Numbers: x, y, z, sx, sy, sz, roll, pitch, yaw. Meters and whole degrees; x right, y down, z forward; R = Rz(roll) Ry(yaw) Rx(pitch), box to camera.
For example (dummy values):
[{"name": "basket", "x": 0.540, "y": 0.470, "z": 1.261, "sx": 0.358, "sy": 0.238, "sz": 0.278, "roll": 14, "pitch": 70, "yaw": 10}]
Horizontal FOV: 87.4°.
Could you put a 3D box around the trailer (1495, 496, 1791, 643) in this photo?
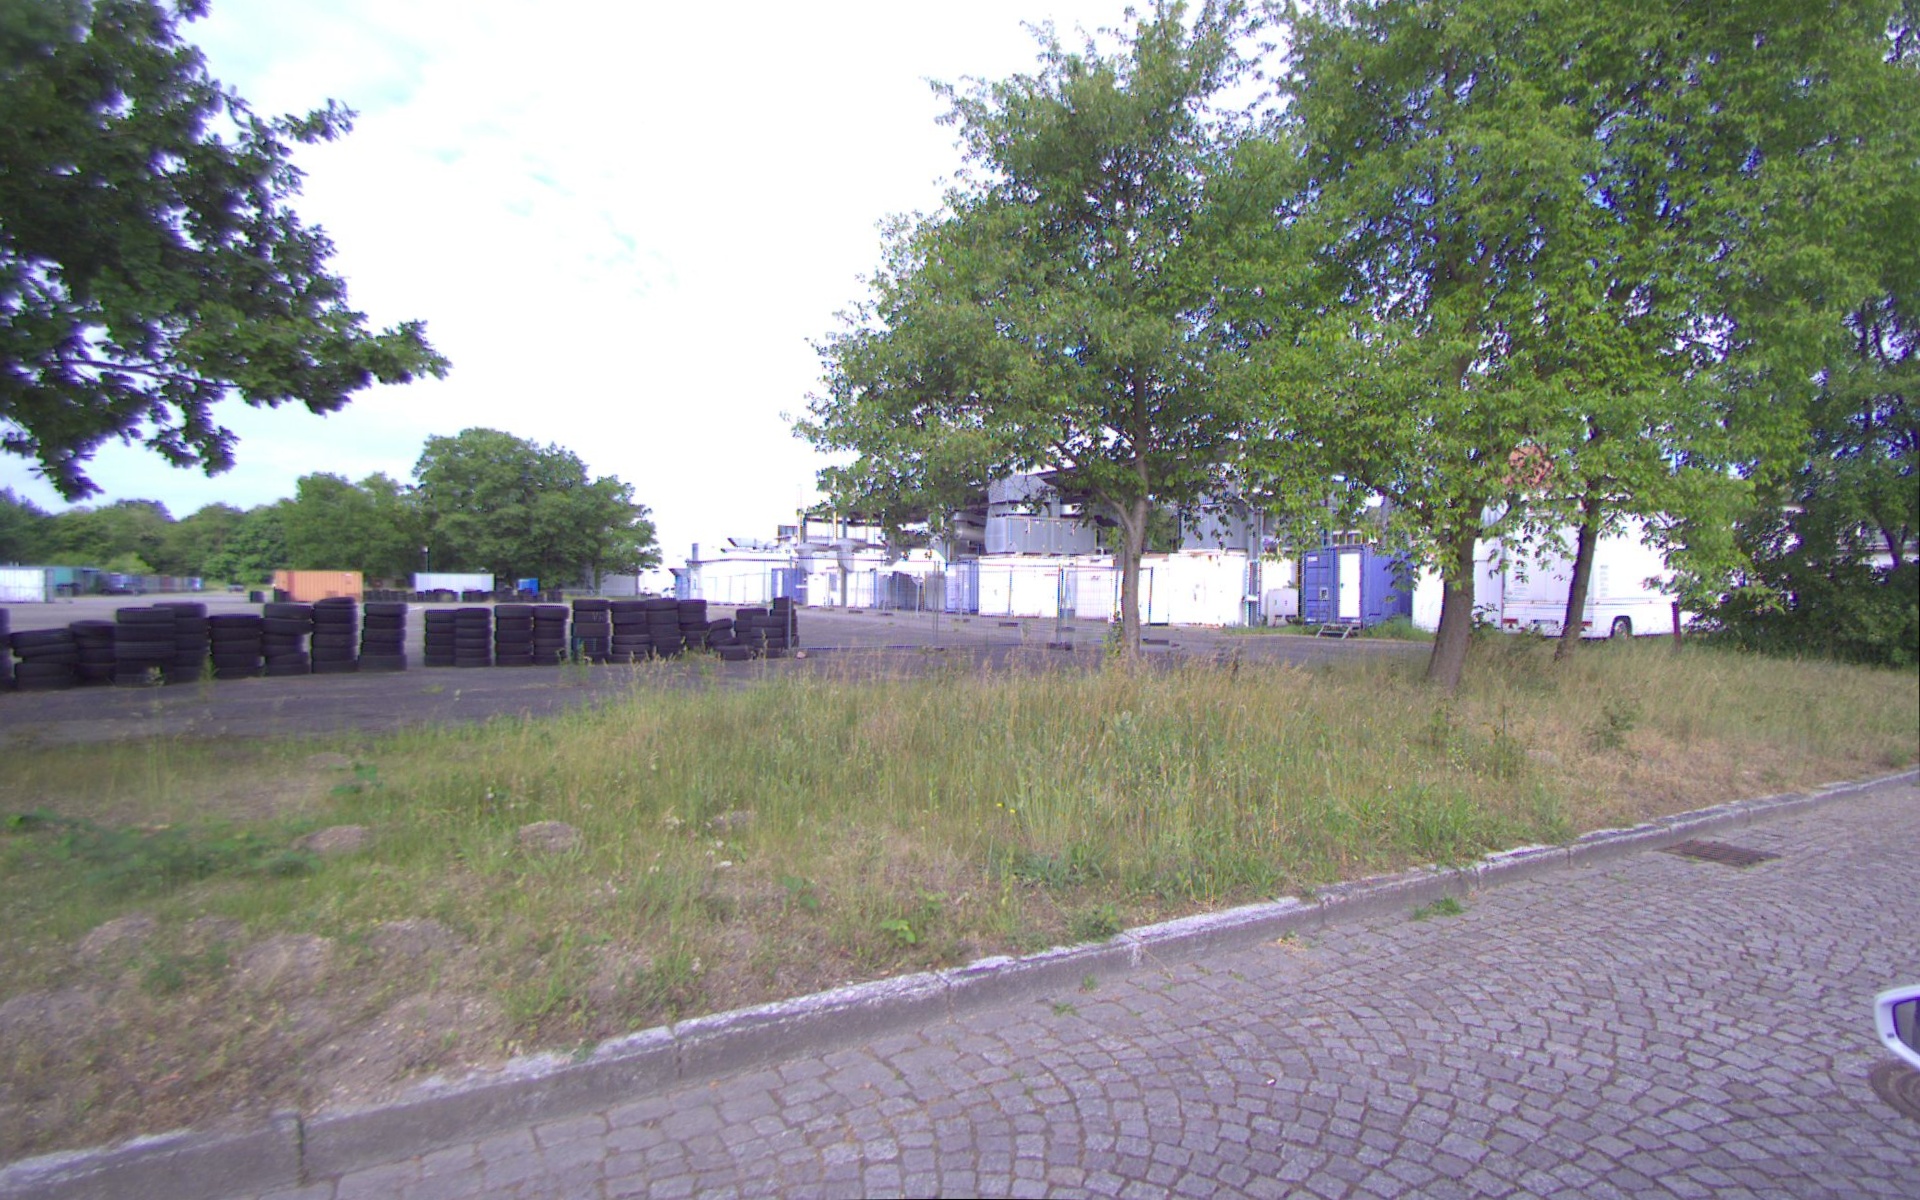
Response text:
[{"name": "trailer", "x": 20.185, "y": -0.802, "z": 29.399, "sx": 10.587, "sy": 3.755, "sz": 2.645, "roll": 0, "pitch": 1, "yaw": -29}]
